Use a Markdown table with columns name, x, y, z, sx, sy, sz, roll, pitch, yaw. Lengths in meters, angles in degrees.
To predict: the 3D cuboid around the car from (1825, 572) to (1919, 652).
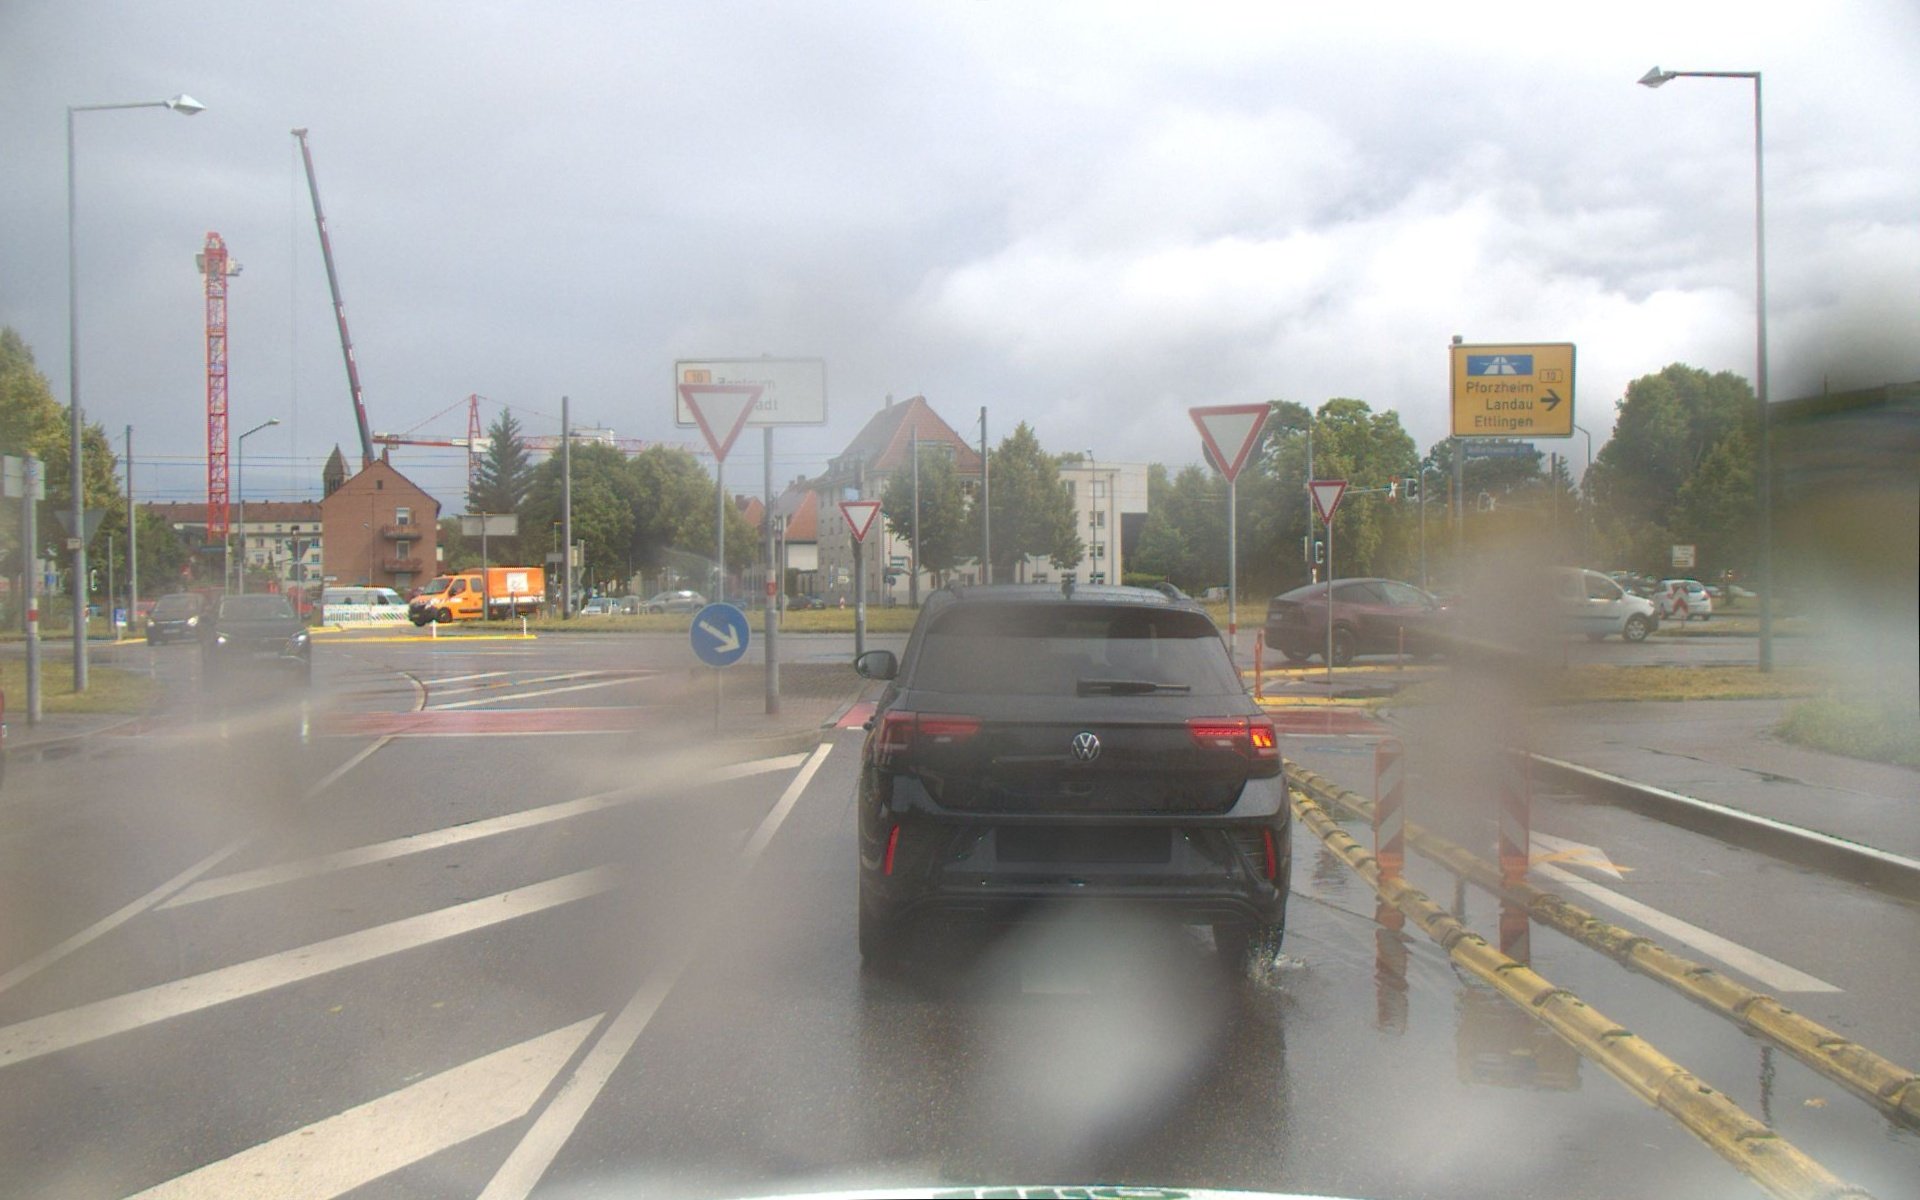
| name | x | y | z | sx | sy | sz | roll | pitch | yaw |
| --- | --- | --- | --- | --- | --- | --- | --- | --- | --- |
| car | 20.722 | 0.248 | 35.240 | 3.860 | 1.673 | 1.671 | 0 | 0 | 20 |

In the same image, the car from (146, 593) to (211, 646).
| name | x | y | z | sx | sy | sz | roll | pitch | yaw |
| --- | --- | --- | --- | --- | --- | --- | --- | --- | --- |
| car | -25.535 | 0.603 | 53.990 | 1.549 | 1.677 | 3.615 | 0 | 0 | -31 |

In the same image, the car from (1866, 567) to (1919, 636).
| name | x | y | z | sx | sy | sz | roll | pitch | yaw |
| --- | --- | --- | --- | --- | --- | --- | --- | --- | --- |
| car | 23.458 | 0.028 | 38.110 | 4.299 | 1.575 | 1.870 | 0 | 0 | 22 |

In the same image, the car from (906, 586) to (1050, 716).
| name | x | y | z | sx | sy | sz | roll | pitch | yaw |
| --- | --- | --- | --- | --- | --- | --- | --- | --- | --- |
| car | 0.261 | 0.588 | 21.364 | 1.699 | 1.540 | 3.604 | 0 | 0 | 2 |

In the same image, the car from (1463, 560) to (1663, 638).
| name | x | y | z | sx | sy | sz | roll | pitch | yaw |
| --- | --- | --- | --- | --- | --- | --- | --- | --- | --- |
| car | 14.672 | -0.038 | 40.320 | 4.316 | 1.841 | 1.863 | 0 | 0 | -15 |

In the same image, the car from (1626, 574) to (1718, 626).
| name | x | y | z | sx | sy | sz | roll | pitch | yaw |
| --- | --- | --- | --- | --- | --- | --- | --- | --- | --- |
| car | 26.896 | -0.017 | 62.577 | 1.952 | 1.862 | 4.002 | -1 | 0 | 4 |

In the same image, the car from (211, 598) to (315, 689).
| name | x | y | z | sx | sy | sz | roll | pitch | yaw |
| --- | --- | --- | --- | --- | --- | --- | --- | --- | --- |
| car | -13.771 | 0.806 | 32.854 | 1.709 | 1.693 | 4.084 | 0 | 0 | -20 |

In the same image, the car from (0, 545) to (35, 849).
| name | x | y | z | sx | sy | sz | roll | pitch | yaw |
| --- | --- | --- | --- | --- | --- | --- | --- | --- | --- |
| car | -6.673 | 0.642 | 8.208 | 1.853 | 1.909 | 5.123 | -2 | 0 | -8 |

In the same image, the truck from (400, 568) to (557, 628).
| name | x | y | z | sx | sy | sz | roll | pitch | yaw |
| --- | --- | --- | --- | --- | --- | --- | --- | --- | --- |
| truck | -22.327 | -0.124 | 77.007 | 2.285 | 2.696 | 7.057 | 0 | 0 | 38 |

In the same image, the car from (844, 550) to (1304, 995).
| name | x | y | z | sx | sy | sz | roll | pitch | yaw |
| --- | --- | --- | --- | --- | --- | --- | --- | --- | --- |
| car | 0.323 | 0.623 | 7.841 | 1.674 | 1.601 | 3.680 | 0 | 0 | -3 |

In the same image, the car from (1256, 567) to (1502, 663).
| name | x | y | z | sx | sy | sz | roll | pitch | yaw |
| --- | --- | --- | --- | --- | --- | --- | --- | --- | --- |
| car | 8.185 | 0.266 | 32.511 | 4.259 | 1.755 | 1.997 | -1 | 0 | -7 |
